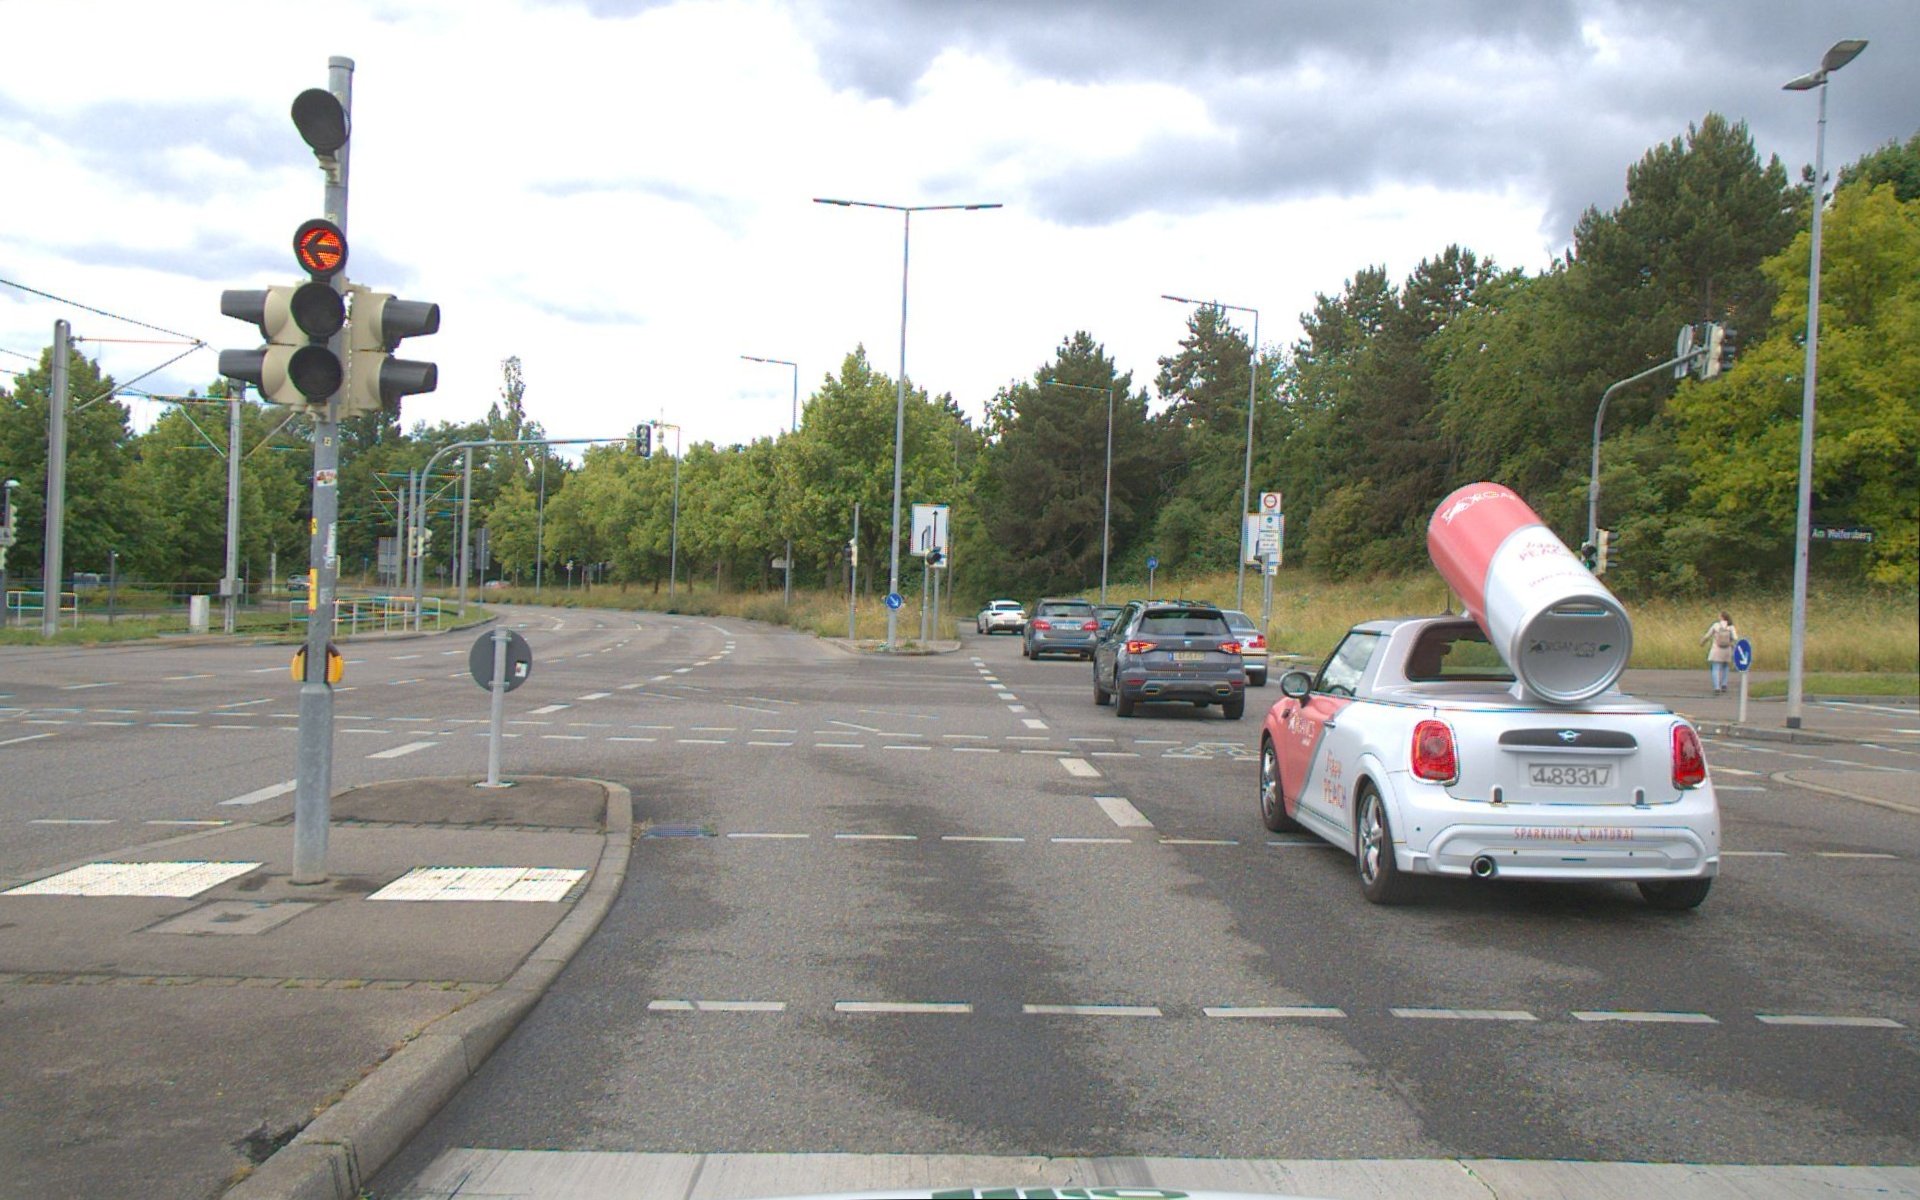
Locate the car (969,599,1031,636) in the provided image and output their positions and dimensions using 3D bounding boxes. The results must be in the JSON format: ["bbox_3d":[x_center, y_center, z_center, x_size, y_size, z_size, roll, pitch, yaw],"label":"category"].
[{"bbox_3d":[1.714,0.739,72.457,1.811,1.533,4.519,1,0,-11],"label":"car"}]

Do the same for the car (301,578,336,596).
[{"bbox_3d":[-59.778,-1.237,154.053,1.785,1.615,3.940,1,-1,-41],"label":"car"}]

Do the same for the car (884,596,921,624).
[{"bbox_3d":[-3.325,0.583,95.548,1.565,1.543,2.756,1,0,-15],"label":"car"}]

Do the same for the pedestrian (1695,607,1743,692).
[{"bbox_3d":[14.829,0.958,32.332,0.630,1.640,0.714,1,-1,5],"label":"pedestrian"}]

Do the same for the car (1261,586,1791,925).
[{"bbox_3d":[2.948,0.710,9.427,1.784,1.532,3.494,1,1,0],"label":"car"}]

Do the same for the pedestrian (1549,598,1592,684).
[{"bbox_3d":[12.250,0.820,33.197,0.630,1.691,0.714,1,-1,6],"label":"pedestrian"}]

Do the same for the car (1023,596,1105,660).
[{"bbox_3d":[2.606,0.676,42.232,1.711,1.534,4.047,1,0,-1],"label":"car"}]

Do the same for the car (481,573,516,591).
[{"bbox_3d":[-43.031,-1.647,154.150,1.773,1.631,3.833,1,-1,-39],"label":"car"}]

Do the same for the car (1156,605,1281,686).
[{"bbox_3d":[5.000,0.839,32.486,1.711,1.407,4.290,1,0,-1],"label":"car"}]

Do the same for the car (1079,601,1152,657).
[{"bbox_3d":[4.663,0.847,50.110,1.711,1.511,4.355,1,1,-1],"label":"car"}]

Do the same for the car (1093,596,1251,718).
[{"bbox_3d":[2.846,0.719,22.946,1.591,1.519,3.836,1,0,-2],"label":"car"}]
